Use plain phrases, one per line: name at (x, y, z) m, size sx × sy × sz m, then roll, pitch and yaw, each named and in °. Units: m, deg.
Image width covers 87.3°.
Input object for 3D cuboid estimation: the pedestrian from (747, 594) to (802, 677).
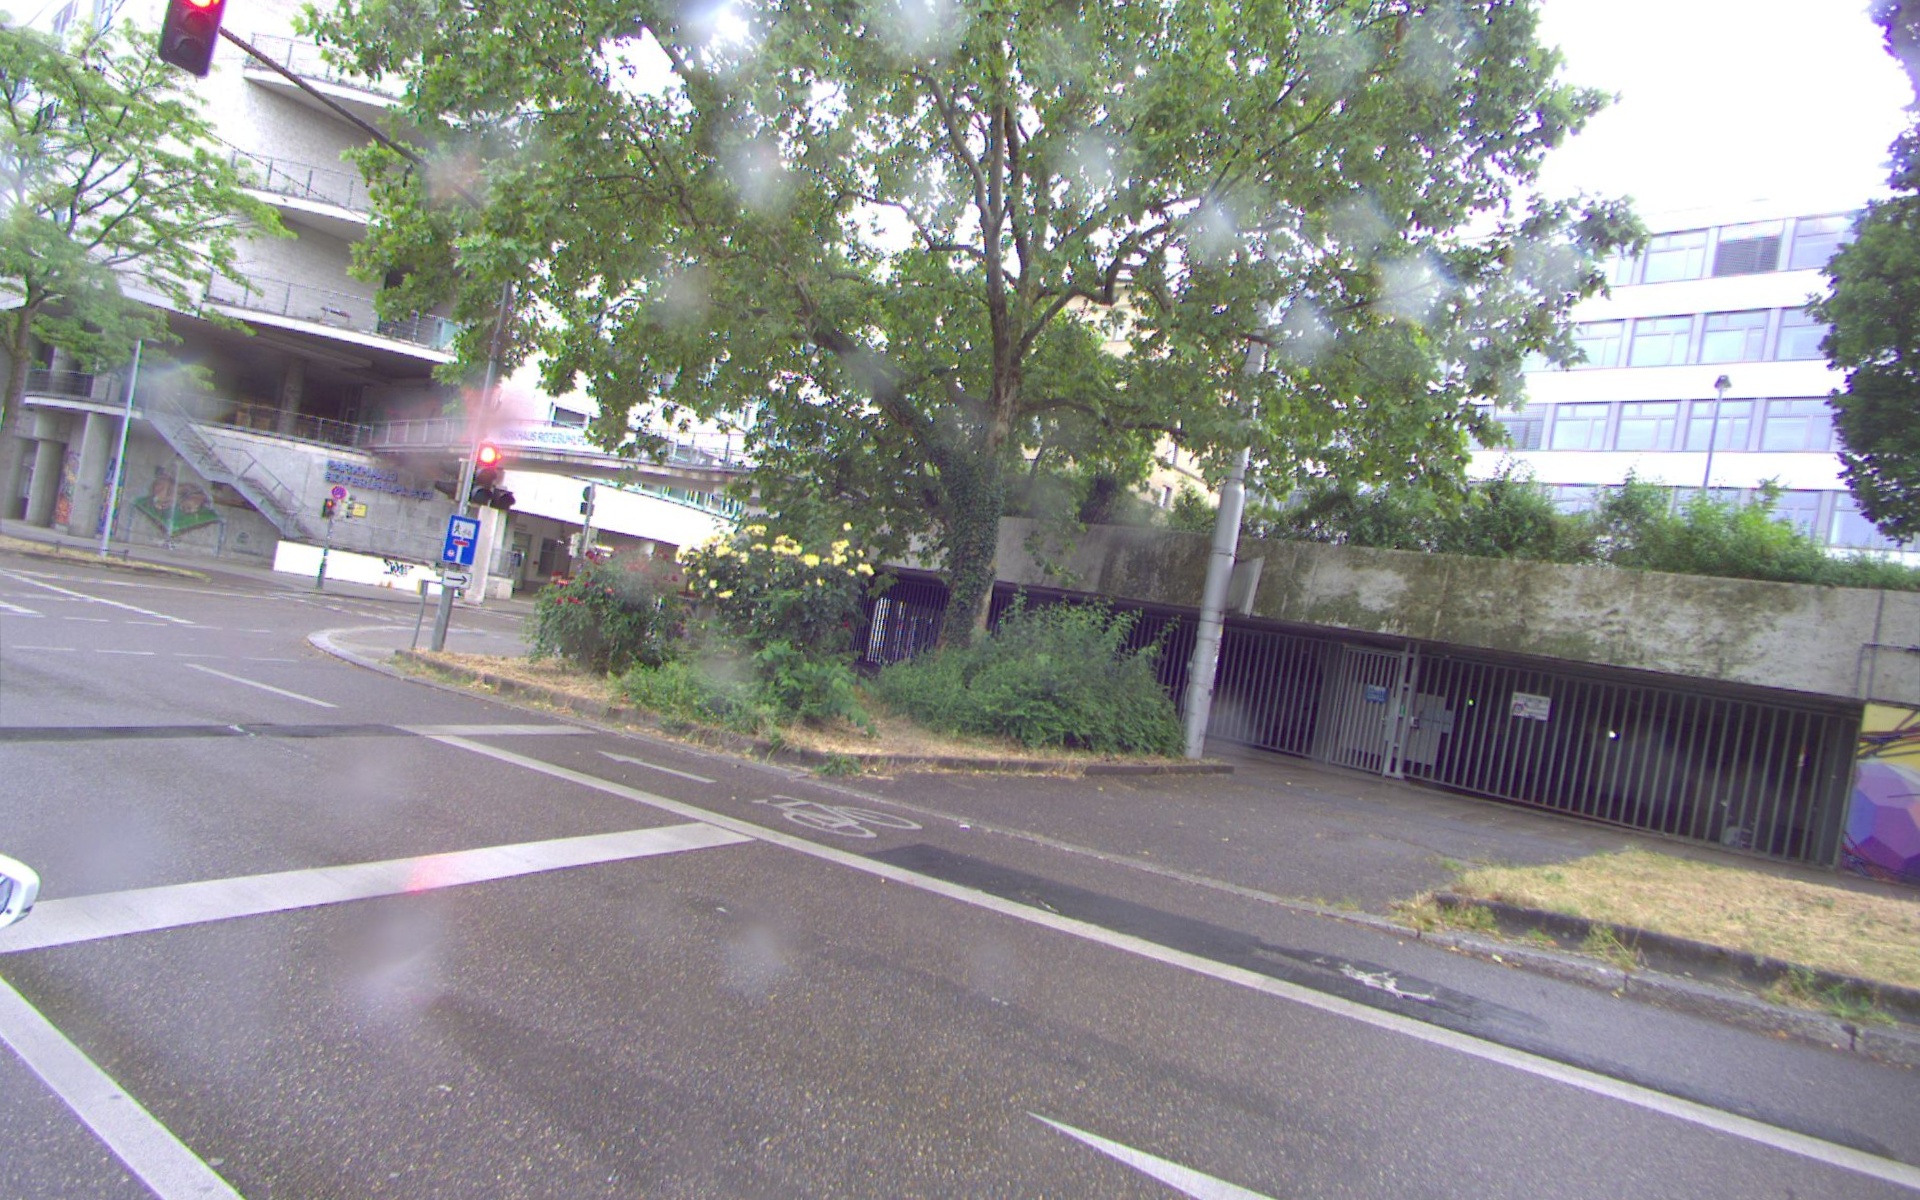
pedestrian at (-4.614, 0.891, 25.051) m, size 0.745 × 1.932 × 0.847 m, roll 8°, pitch -1°, yaw 31°
